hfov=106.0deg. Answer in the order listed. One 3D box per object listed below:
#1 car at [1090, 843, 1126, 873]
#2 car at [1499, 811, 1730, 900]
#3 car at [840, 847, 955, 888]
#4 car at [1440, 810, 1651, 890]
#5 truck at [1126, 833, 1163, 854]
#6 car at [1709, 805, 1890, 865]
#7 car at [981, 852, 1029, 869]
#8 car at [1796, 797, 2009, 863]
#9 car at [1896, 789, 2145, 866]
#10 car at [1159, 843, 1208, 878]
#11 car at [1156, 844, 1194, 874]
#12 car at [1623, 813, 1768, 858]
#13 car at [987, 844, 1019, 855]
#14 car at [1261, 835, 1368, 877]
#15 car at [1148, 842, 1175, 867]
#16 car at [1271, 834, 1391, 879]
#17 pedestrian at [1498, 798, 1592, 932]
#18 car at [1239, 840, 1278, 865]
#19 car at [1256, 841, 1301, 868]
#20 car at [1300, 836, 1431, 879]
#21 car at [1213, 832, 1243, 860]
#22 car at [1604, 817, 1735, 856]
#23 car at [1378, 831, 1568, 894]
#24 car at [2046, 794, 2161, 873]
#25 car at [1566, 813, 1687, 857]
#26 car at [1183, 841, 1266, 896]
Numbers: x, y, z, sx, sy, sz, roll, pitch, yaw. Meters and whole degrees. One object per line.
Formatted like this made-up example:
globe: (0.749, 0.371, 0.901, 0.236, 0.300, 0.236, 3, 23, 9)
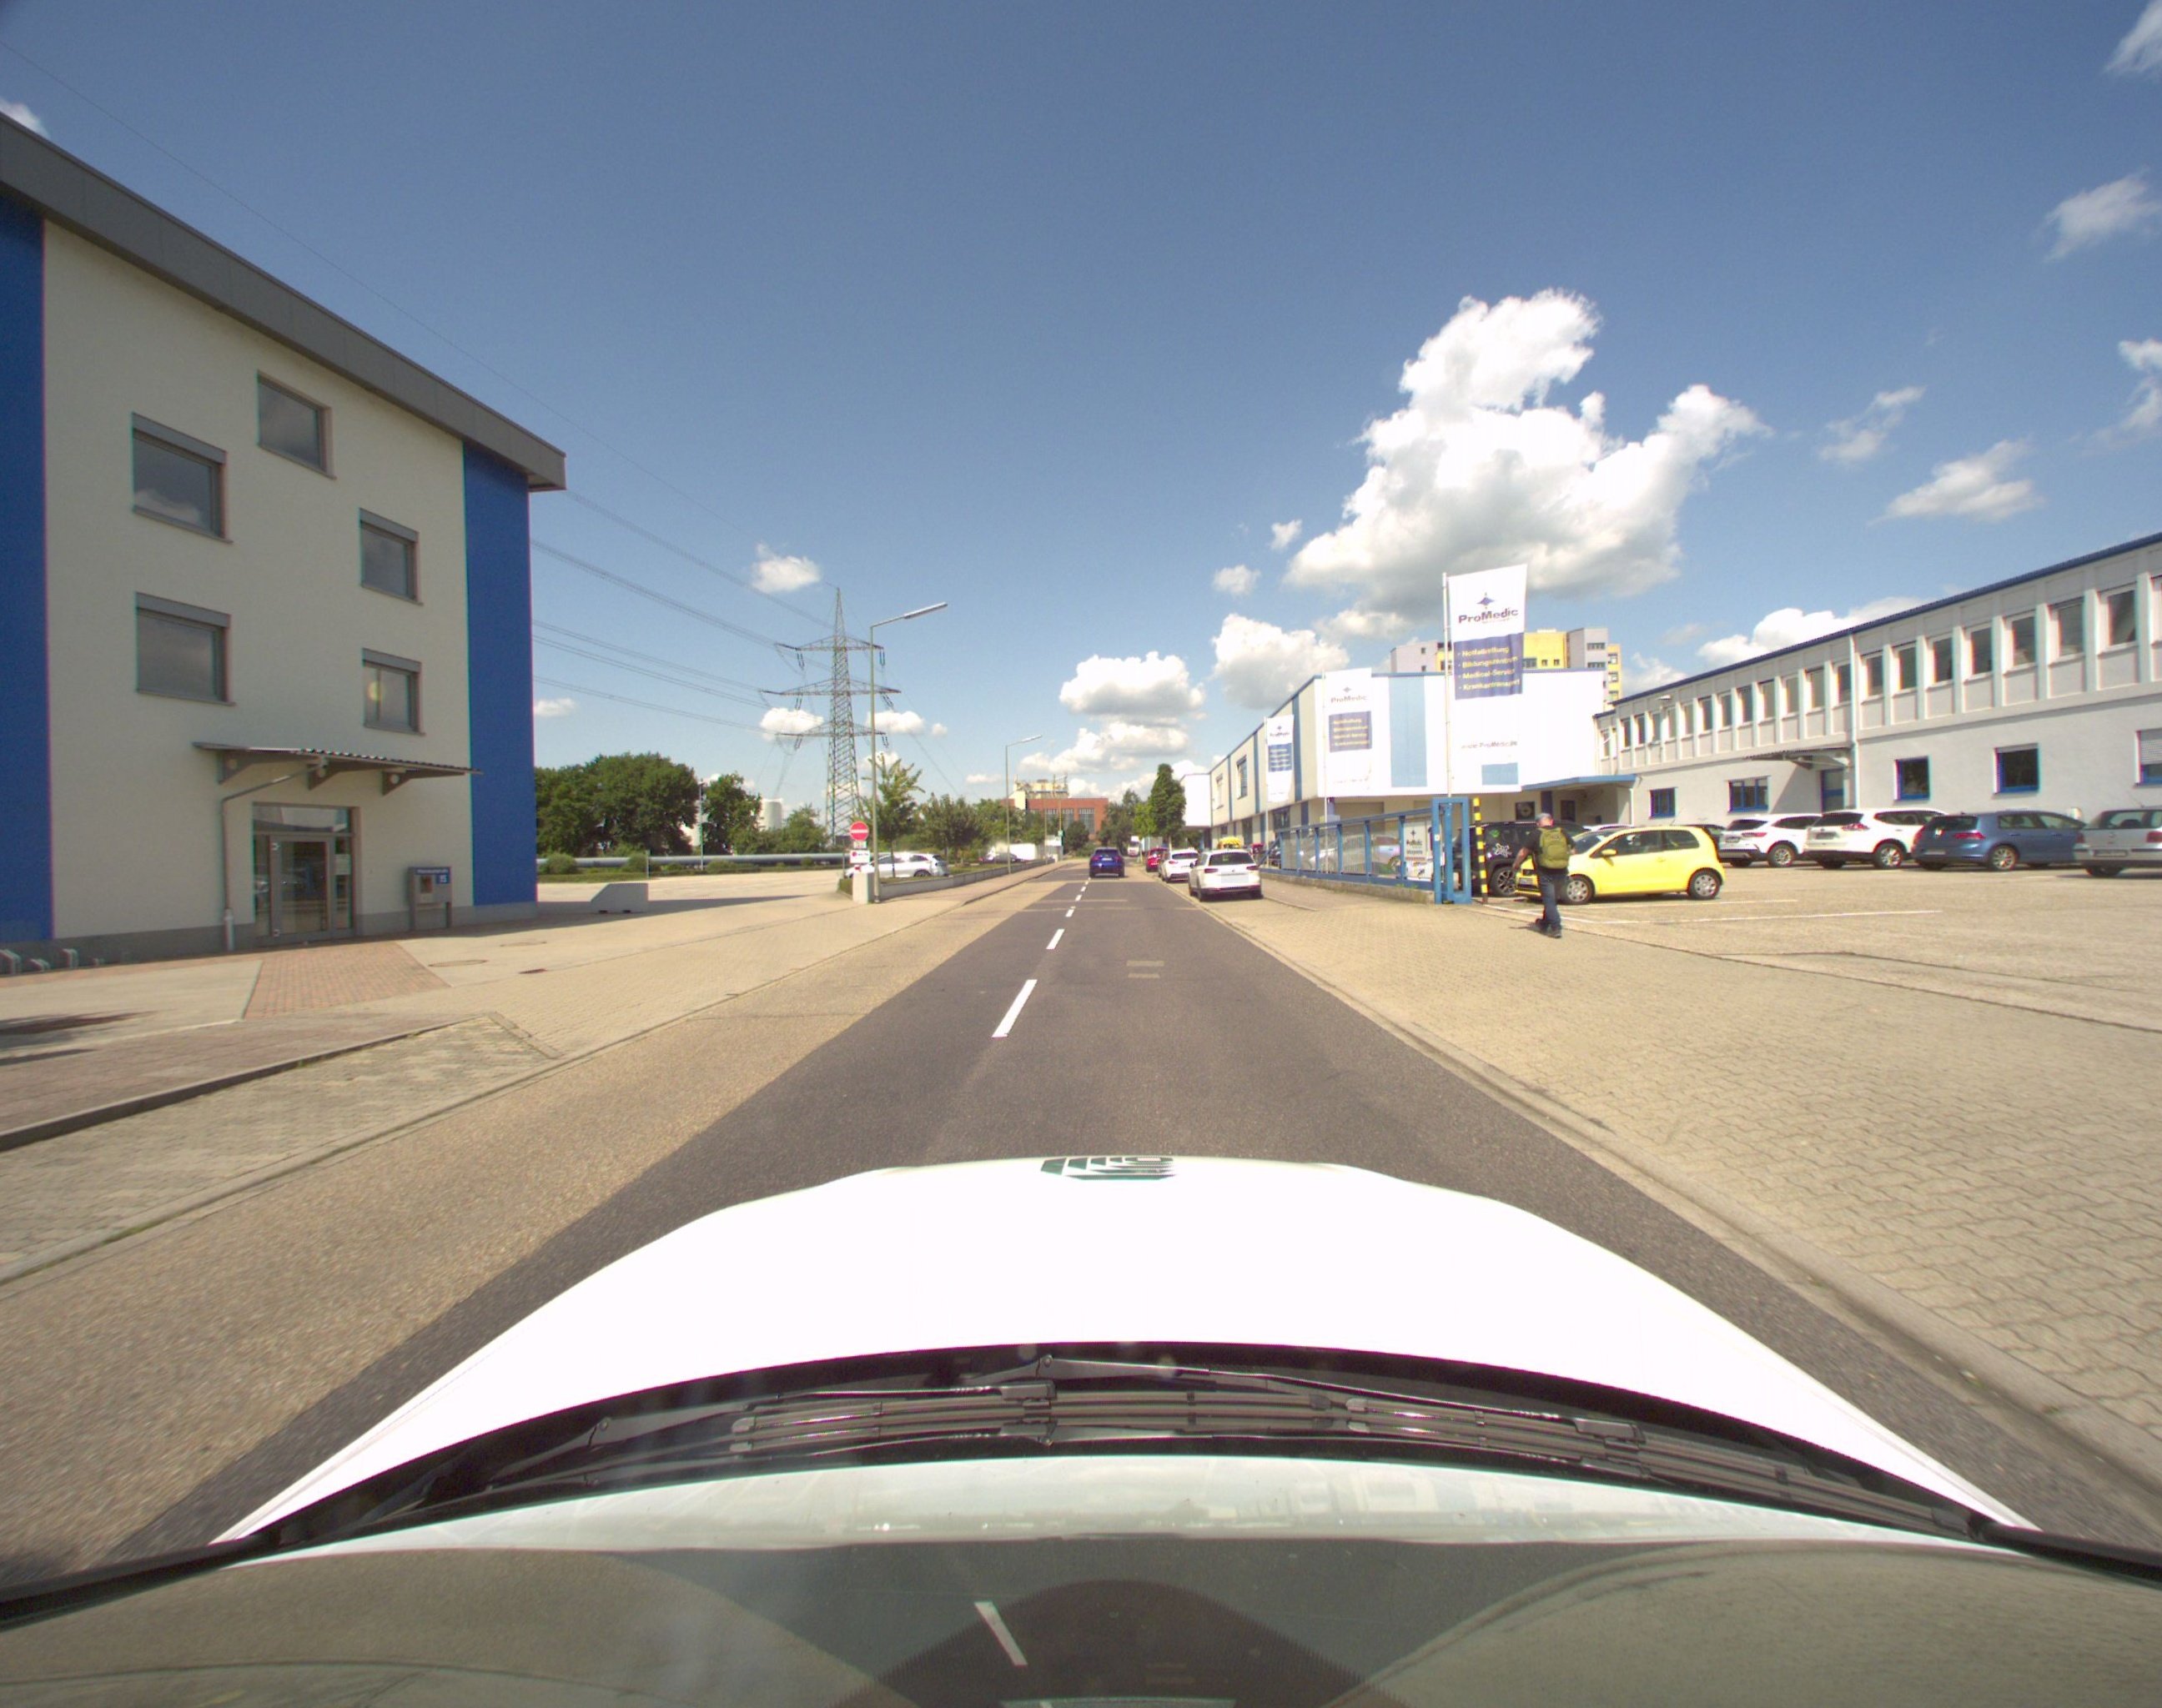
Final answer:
car: (1.502, 0.217, 45.830, 1.902, 1.593, 4.703, -1, 0, 1)
car: (10.514, 0.031, 16.252, 3.391, 1.490, 1.792, -3, 0, 1)
car: (-8.314, 0.610, 37.241, 4.742, 1.602, 1.999, -3, 0, -2)
car: (10.485, -0.091, 18.591, 3.792, 1.680, 1.792, -1, 0, 1)
truck: (11.266, -1.871, 142.873, 2.299, 3.567, 9.427, 1, 2, 32)
car: (22.485, -0.592, 25.618, 3.973, 1.701, 1.935, -2, 0, 1)
car: (-6.596, 0.543, 71.121, 3.972, 1.376, 1.804, -2, 0, 1)
car: (22.422, -0.651, 22.349, 3.973, 1.630, 1.807, -2, 0, 1)
car: (22.825, -0.634, 19.910, 3.973, 1.690, 1.807, -2, 0, 1)
car: (4.695, 0.283, 37.812, 1.828, 1.520, 4.462, -1, 0, 1)
car: (4.947, 0.247, 43.408, 1.662, 1.520, 3.997, -1, 0, 2)
car: (22.931, -0.681, 30.512, 3.973, 1.508, 1.935, -2, 0, 0)
car: (-10.469, -0.659, 109.125, 3.948, 1.378, 1.815, -1, 0, 36)
car: (10.125, 0.081, 35.499, 4.070, 1.686, 2.000, -1, 0, 0)
car: (5.573, 0.006, 56.665, 1.747, 1.650, 4.682, -1, 0, 4)
car: (10.096, 0.094, 33.175, 4.212, 1.647, 2.148, -1, 0, 0)
pedestrian: (6.419, 0.146, 11.298, 0.766, 1.756, 0.787, -3, 0, 1)
car: (12.643, -0.087, 58.199, 1.986, 1.657, 4.292, -2, -1, 2)
car: (12.335, 0.065, 51.229, 1.820, 1.512, 4.642, -2, -2, 2)
car: (10.650, 0.107, 30.773, 4.262, 1.420, 2.001, -2, 0, 2)
car: (13.257, -0.687, 73.889, 1.916, 2.464, 5.262, -1, 0, 2)
car: (23.737, -0.697, 32.941, 3.973, 1.399, 1.807, -2, 0, 1)
car: (10.079, 0.205, 21.206, 3.971, 1.420, 2.001, -2, 0, 2)
car: (22.320, -0.480, 16.162, 3.864, 1.486, 1.867, -3, 0, 5)
car: (23.633, -0.806, 35.394, 4.043, 1.740, 1.807, -2, 0, 1)
car: (4.316, 0.401, 25.133, 1.861, 1.520, 4.599, -1, 0, 1)
